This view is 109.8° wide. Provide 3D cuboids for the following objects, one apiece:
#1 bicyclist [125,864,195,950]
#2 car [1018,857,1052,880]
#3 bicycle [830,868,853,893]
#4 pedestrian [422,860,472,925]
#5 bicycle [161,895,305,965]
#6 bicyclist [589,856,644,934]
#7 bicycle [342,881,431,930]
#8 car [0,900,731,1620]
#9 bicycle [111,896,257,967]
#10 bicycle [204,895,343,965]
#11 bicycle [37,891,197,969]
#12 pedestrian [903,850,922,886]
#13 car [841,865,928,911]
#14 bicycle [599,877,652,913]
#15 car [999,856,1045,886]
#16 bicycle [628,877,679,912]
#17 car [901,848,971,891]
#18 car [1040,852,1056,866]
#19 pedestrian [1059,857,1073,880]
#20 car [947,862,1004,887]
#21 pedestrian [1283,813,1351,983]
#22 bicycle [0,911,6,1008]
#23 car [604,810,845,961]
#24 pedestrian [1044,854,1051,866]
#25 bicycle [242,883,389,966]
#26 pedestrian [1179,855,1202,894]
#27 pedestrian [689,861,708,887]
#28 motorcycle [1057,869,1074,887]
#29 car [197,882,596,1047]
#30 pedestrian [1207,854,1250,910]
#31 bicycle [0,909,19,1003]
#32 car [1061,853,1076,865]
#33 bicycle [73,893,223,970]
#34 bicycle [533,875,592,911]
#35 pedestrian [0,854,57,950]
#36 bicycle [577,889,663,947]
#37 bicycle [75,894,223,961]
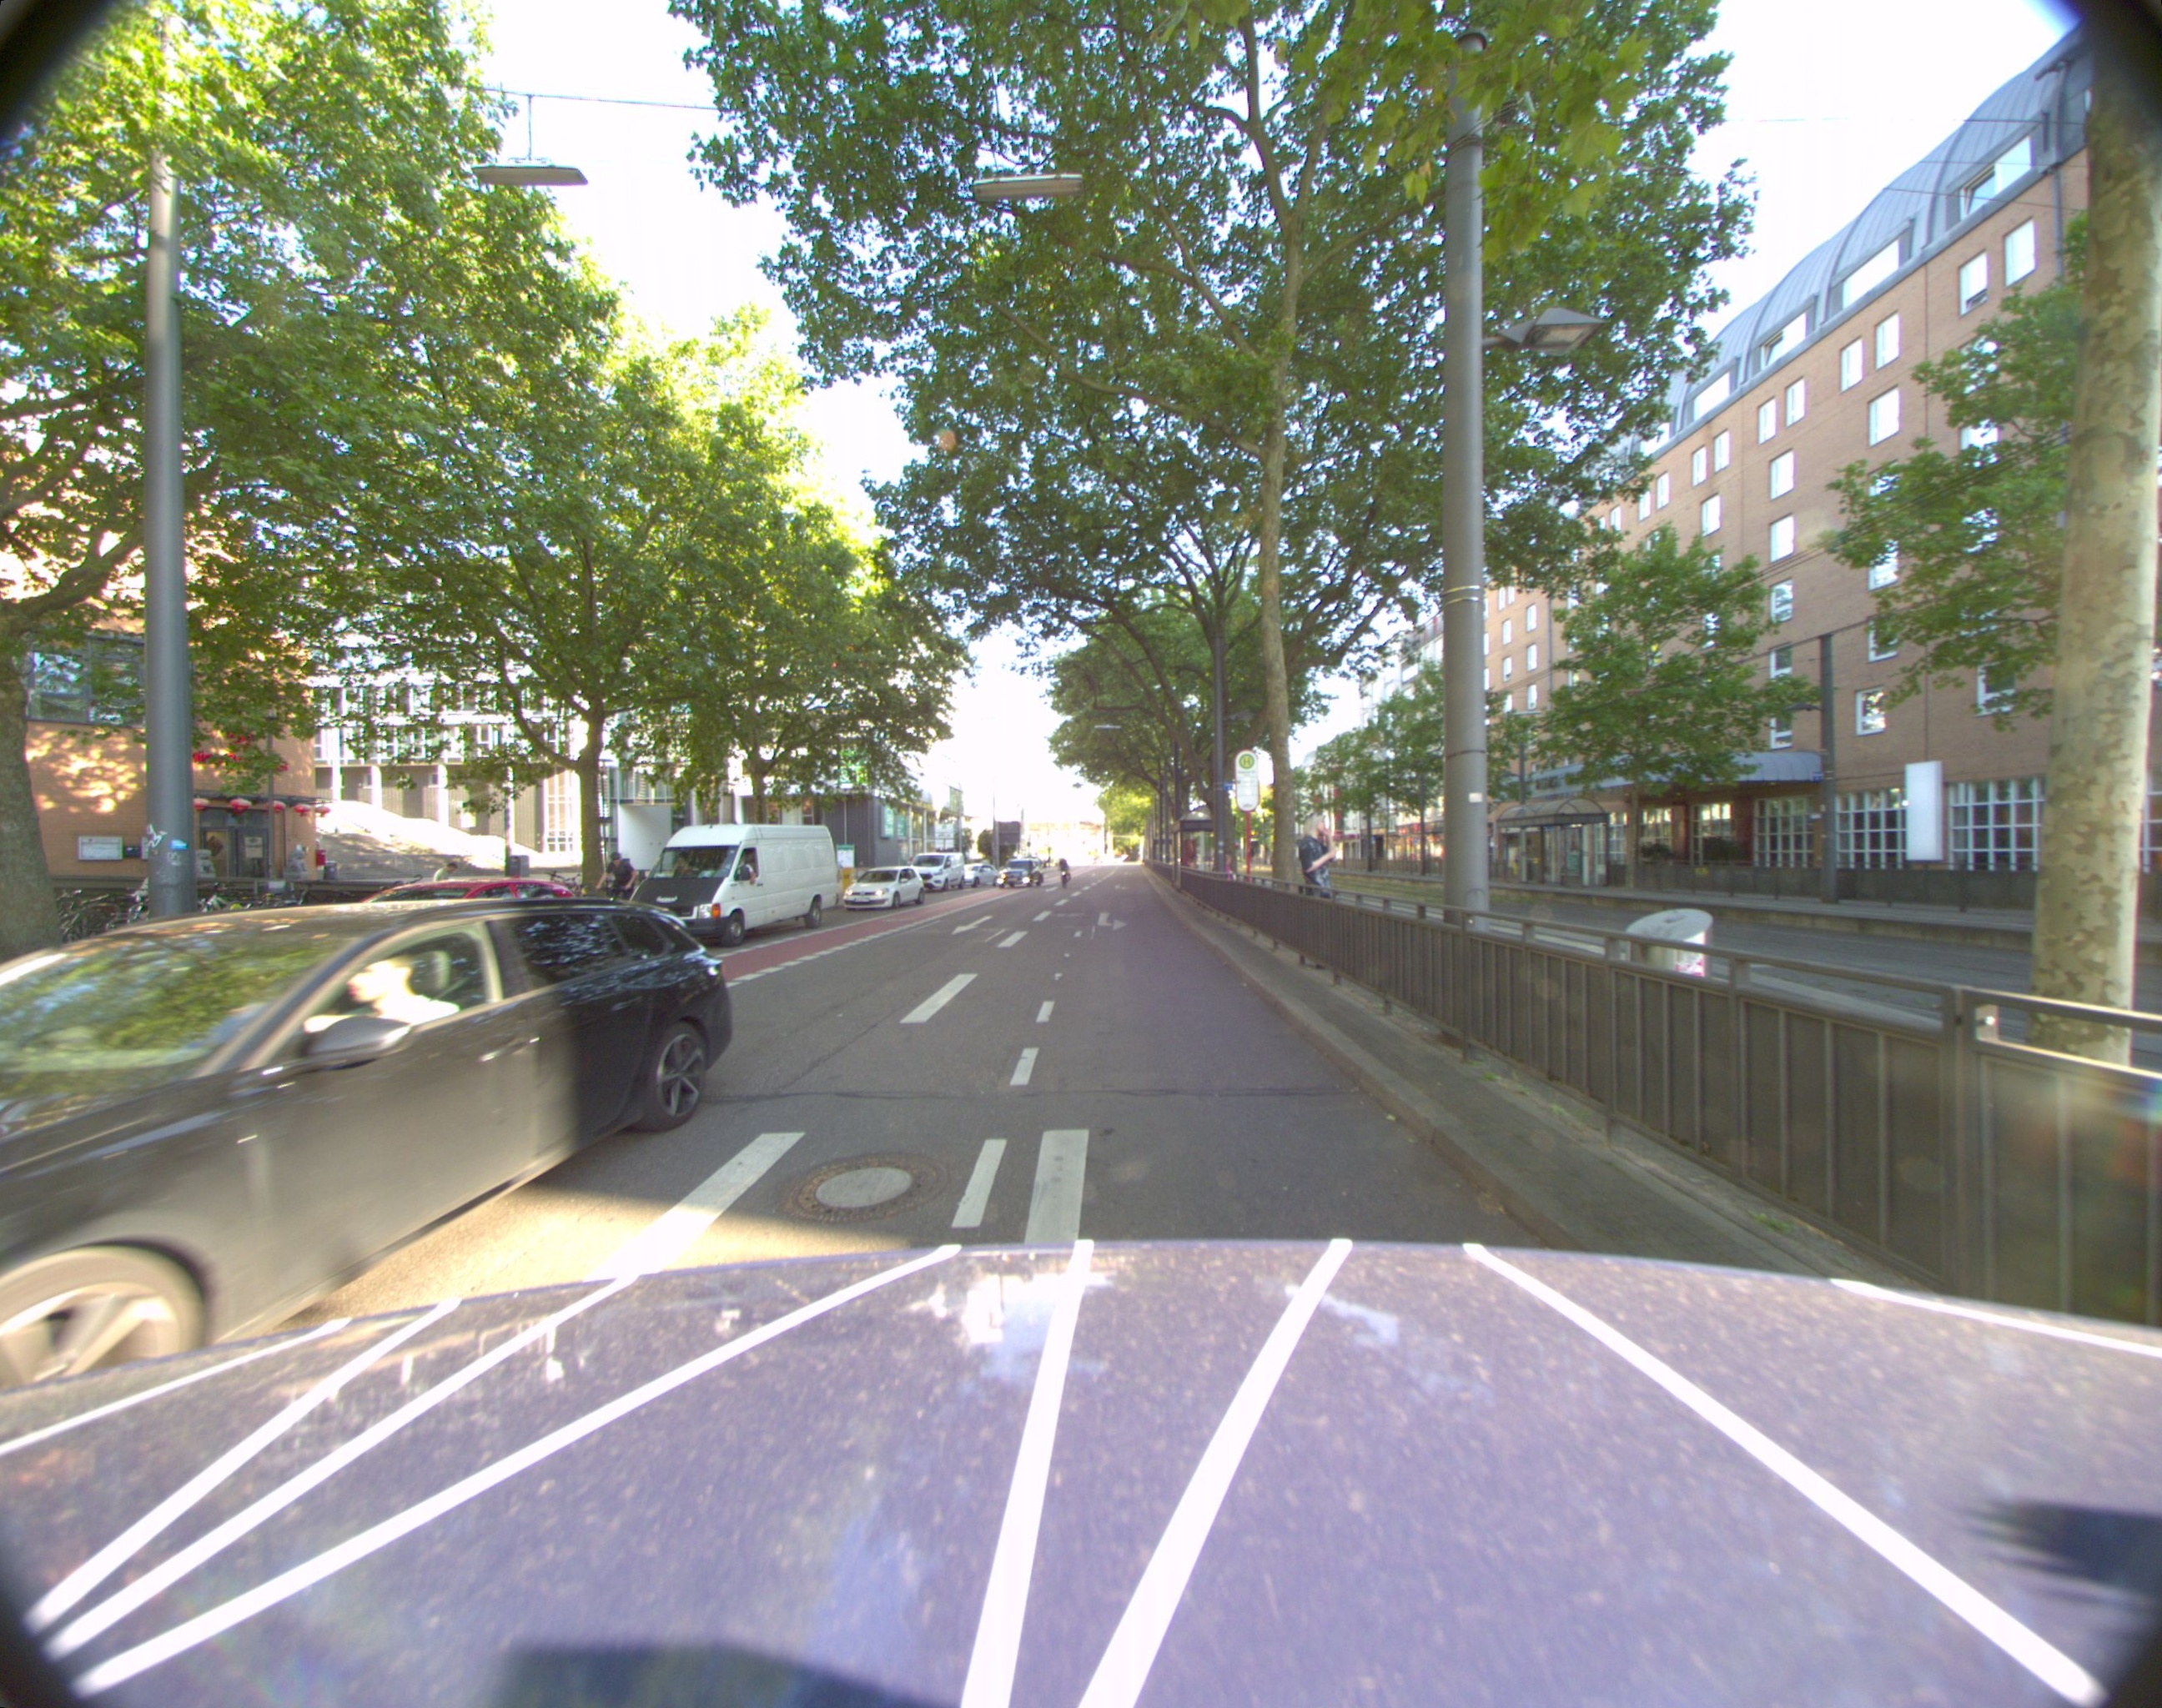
[{"bbox_3d":[-18.029,1.012,14.873,0.562,1.607,0.823,0,1,37],"label":"bicyclist"},{"bbox_3d":[-3.257,0.994,54.214,1.759,1.565,4.002,0,0,6],"label":"car"},{"bbox_3d":[-11.288,1.233,35.905,0.514,1.151,1.540,-1,0,3],"label":"bicycle"},{"bbox_3d":[-16.226,0.974,19.458,0.718,1.622,0.636,0,1,7],"label":"pedestrian"},{"bbox_3d":[-14.528,1.277,13.086,0.597,1.026,1.655,0,0,1],"label":"bicycle"},{"bbox_3d":[-10.264,0.887,16.815,0.752,1.678,0.715,0,1,4],"label":"bicyclist"},{"bbox_3d":[-17.785,1.299,19.518,0.596,1.119,1.656,0,0,9],"label":"bicycle"},{"bbox_3d":[-3.345,1.057,2.896,1.827,1.416,4.346,-2,0,2],"label":"car"},{"bbox_3d":[-15.301,1.291,13.023,0.503,1.026,1.655,0,0,1],"label":"bicycle"},{"bbox_3d":[-13.839,1.272,13.088,0.597,1.026,1.655,0,0,1],"label":"bicycle"},{"bbox_3d":[-16.424,1.263,13.014,0.479,1.153,1.694,0,0,5],"label":"bicycle"},{"bbox_3d":[-9.699,0.803,43.720,0.808,2.002,0.665,-2,1,7],"label":"pedestrian"},{"bbox_3d":[-6.900,1.148,27.047,1.670,1.455,3.871,0,0,7],"label":"car"},{"bbox_3d":[-14.632,1.303,24.461,0.597,1.041,1.655,0,0,4],"label":"bicycle"},{"bbox_3d":[-3.327,0.951,43.466,1.784,1.628,4.024,0,0,8],"label":"car"},{"bbox_3d":[-13.749,1.279,24.497,0.597,1.041,1.655,0,0,4],"label":"bicycle"},{"bbox_3d":[-7.593,0.768,40.320,2.127,2.121,5.292,0,0,6],"label":"car"},{"bbox_3d":[-4.798,0.721,110.850,1.999,1.856,3.999,-2,1,-1],"label":"car"},{"bbox_3d":[-0.792,0.765,39.997,0.665,1.218,0.775,0,1,4],"label":"pedestrian"},{"bbox_3d":[-6.420,1.226,46.581,1.783,1.411,4.027,0,0,20],"label":"car"},{"bbox_3d":[2.746,0.496,8.890,0.511,1.889,0.760,-2,1,2],"label":"pedestrian"},{"bbox_3d":[-13.172,1.232,8.140,0.596,1.109,1.829,0,0,29],"label":"bicycle"},{"bbox_3d":[-7.557,0.573,17.201,1.998,2.708,6.562,-2,0,2],"label":"car"},{"bbox_3d":[-4.301,0.741,98.752,0.753,1.565,0.912,-1,1,6],"label":"pedestrian"},{"bbox_3d":[-13.150,1.175,13.143,0.597,1.257,1.876,0,0,1],"label":"bicycle"},{"bbox_3d":[4.001,0.744,27.832,0.735,1.379,0.640,-2,1,6],"label":"pedestrian"},{"bbox_3d":[-21.421,1.108,42.580,0.712,1.447,0.601,0,1,4],"label":"pedestrian"},{"bbox_3d":[-0.788,1.254,39.782,0.667,0.843,2.223,0,0,4],"label":"motorcycle"},{"bbox_3d":[-7.948,1.166,9.353,1.562,1.455,3.621,-2,0,1],"label":"car"},{"bbox_3d":[3.812,0.718,19.661,0.979,1.392,0.664,-2,1,6],"label":"pedestrian"},{"bbox_3d":[-13.741,1.253,8.583,0.596,1.109,1.953,0,0,29],"label":"bicycle"},{"bbox_3d":[-1.855,0.731,111.401,1.998,1.681,3.999,-2,1,1],"label":"car"},{"bbox_3d":[-15.892,1.285,13.010,0.503,1.130,1.655,0,0,1],"label":"bicycle"},{"bbox_3d":[-16.172,1.199,23.757,0.597,1.041,1.655,0,0,4],"label":"bicycle"},{"bbox_3d":[-20.015,0.881,14.033,0.788,1.747,1.020,0,1,6],"label":"pedestrian"},{"bbox_3d":[-10.254,1.383,17.001,0.551,1.114,2.127,0,0,2],"label":"bicycle"},{"bbox_3d":[-18.093,1.398,14.787,0.566,1.119,1.782,0,1,37],"label":"bicycle"}]
